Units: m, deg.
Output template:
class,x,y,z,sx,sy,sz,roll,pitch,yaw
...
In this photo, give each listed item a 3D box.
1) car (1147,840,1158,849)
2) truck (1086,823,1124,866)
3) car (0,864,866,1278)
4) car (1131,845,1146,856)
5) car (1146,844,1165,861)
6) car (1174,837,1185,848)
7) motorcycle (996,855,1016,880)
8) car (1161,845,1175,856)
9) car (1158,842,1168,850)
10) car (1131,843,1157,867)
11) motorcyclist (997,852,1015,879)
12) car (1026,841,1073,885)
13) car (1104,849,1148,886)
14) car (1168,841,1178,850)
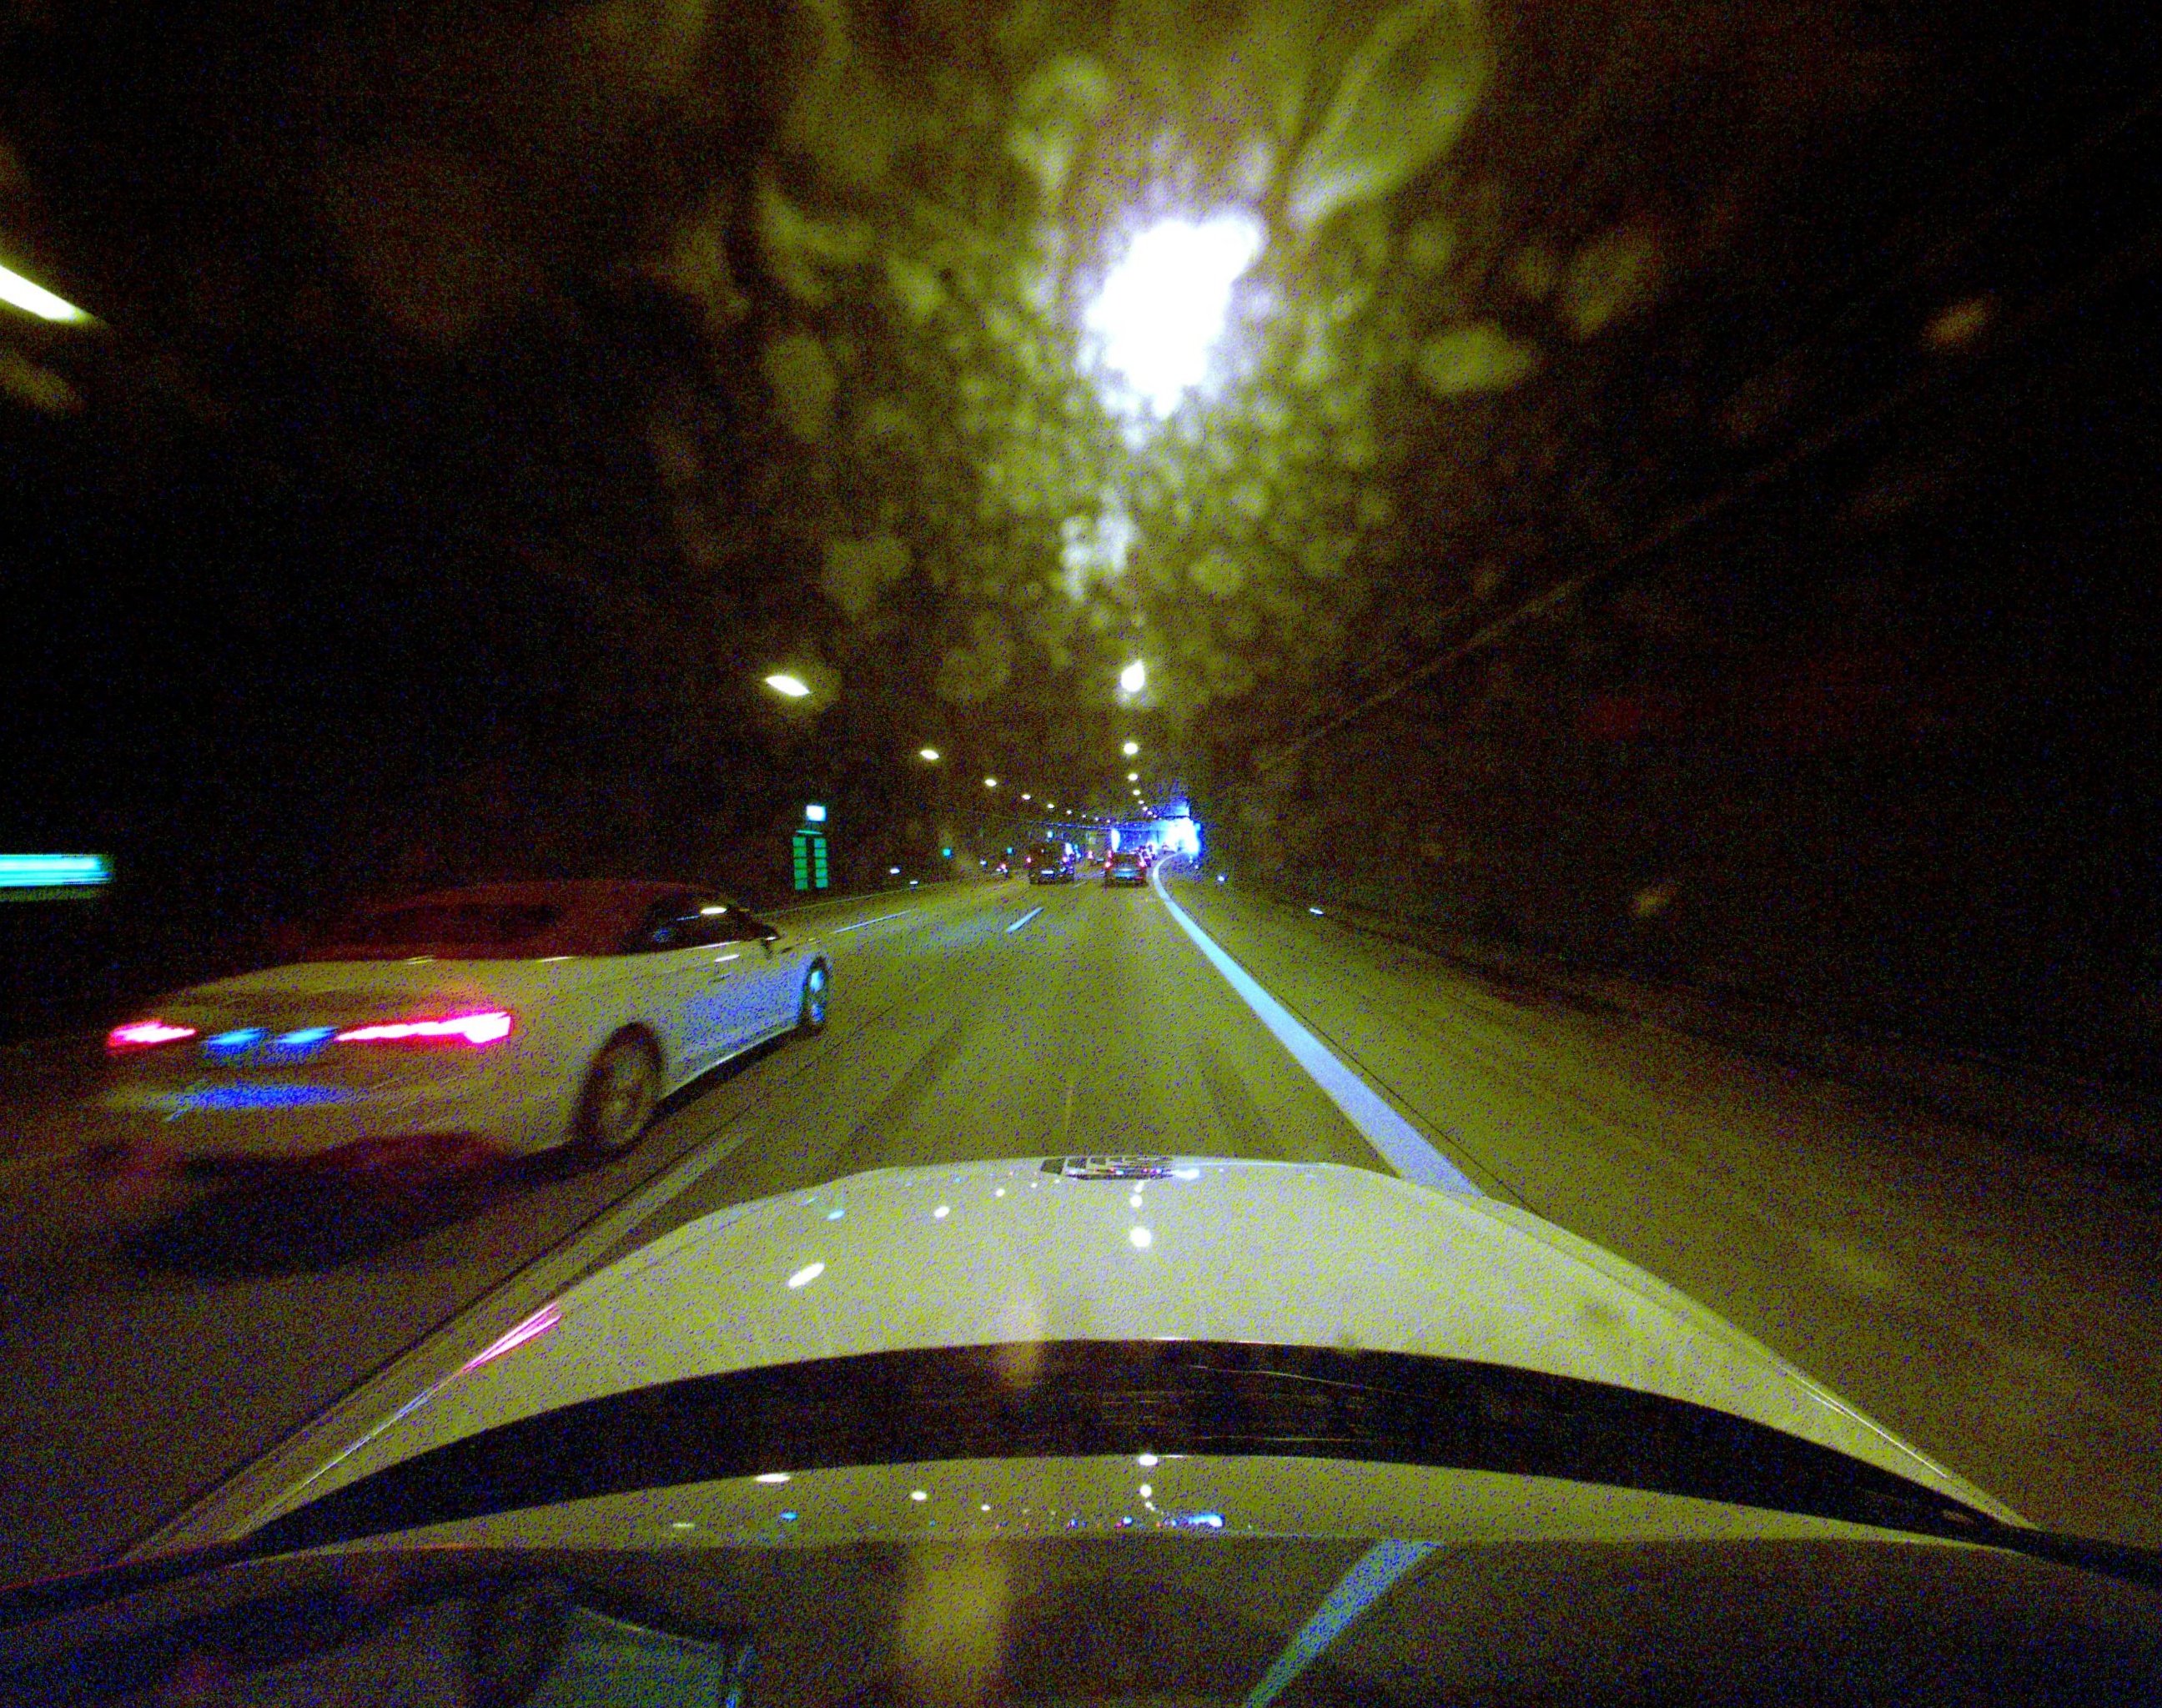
class,x,y,z,sx,sy,sz,roll,pitch,yaw
car,14.886,-1.990,169.588,1.919,1.642,4.010,-1,0,8
truck,2.310,-0.832,75.091,3.025,3.673,7.403,-1,0,5
car,-3.068,0.834,5.529,1.696,1.419,5.062,-1,0,2
car,9.039,-0.597,127.174,1.982,1.632,4.009,-1,-1,8
car,8.232,-0.132,90.115,1.942,1.772,4.002,-1,-2,3
car,18.999,-2.167,156.835,1.984,2.014,4.006,-1,-2,6
motorcycle,-4.116,0.754,44.635,0.679,1.297,2.401,-1,-1,5
car,13.791,-0.589,129.550,1.923,1.643,4.001,-1,-2,1
car,19.252,-1.899,191.061,1.917,1.643,4.013,-1,-2,12
car,5.092,0.053,65.595,1.847,1.854,4.007,-1,0,7
motorcyclist,-4.092,0.619,44.686,0.773,1.453,1.070,-1,-2,5
car,-1.447,0.379,39.267,1.902,1.944,3.874,-1,1,3
car,2.021,0.557,35.740,1.733,1.464,3.878,-1,1,6
car,19.738,-1.816,174.275,1.982,1.632,4.009,-1,-2,9
